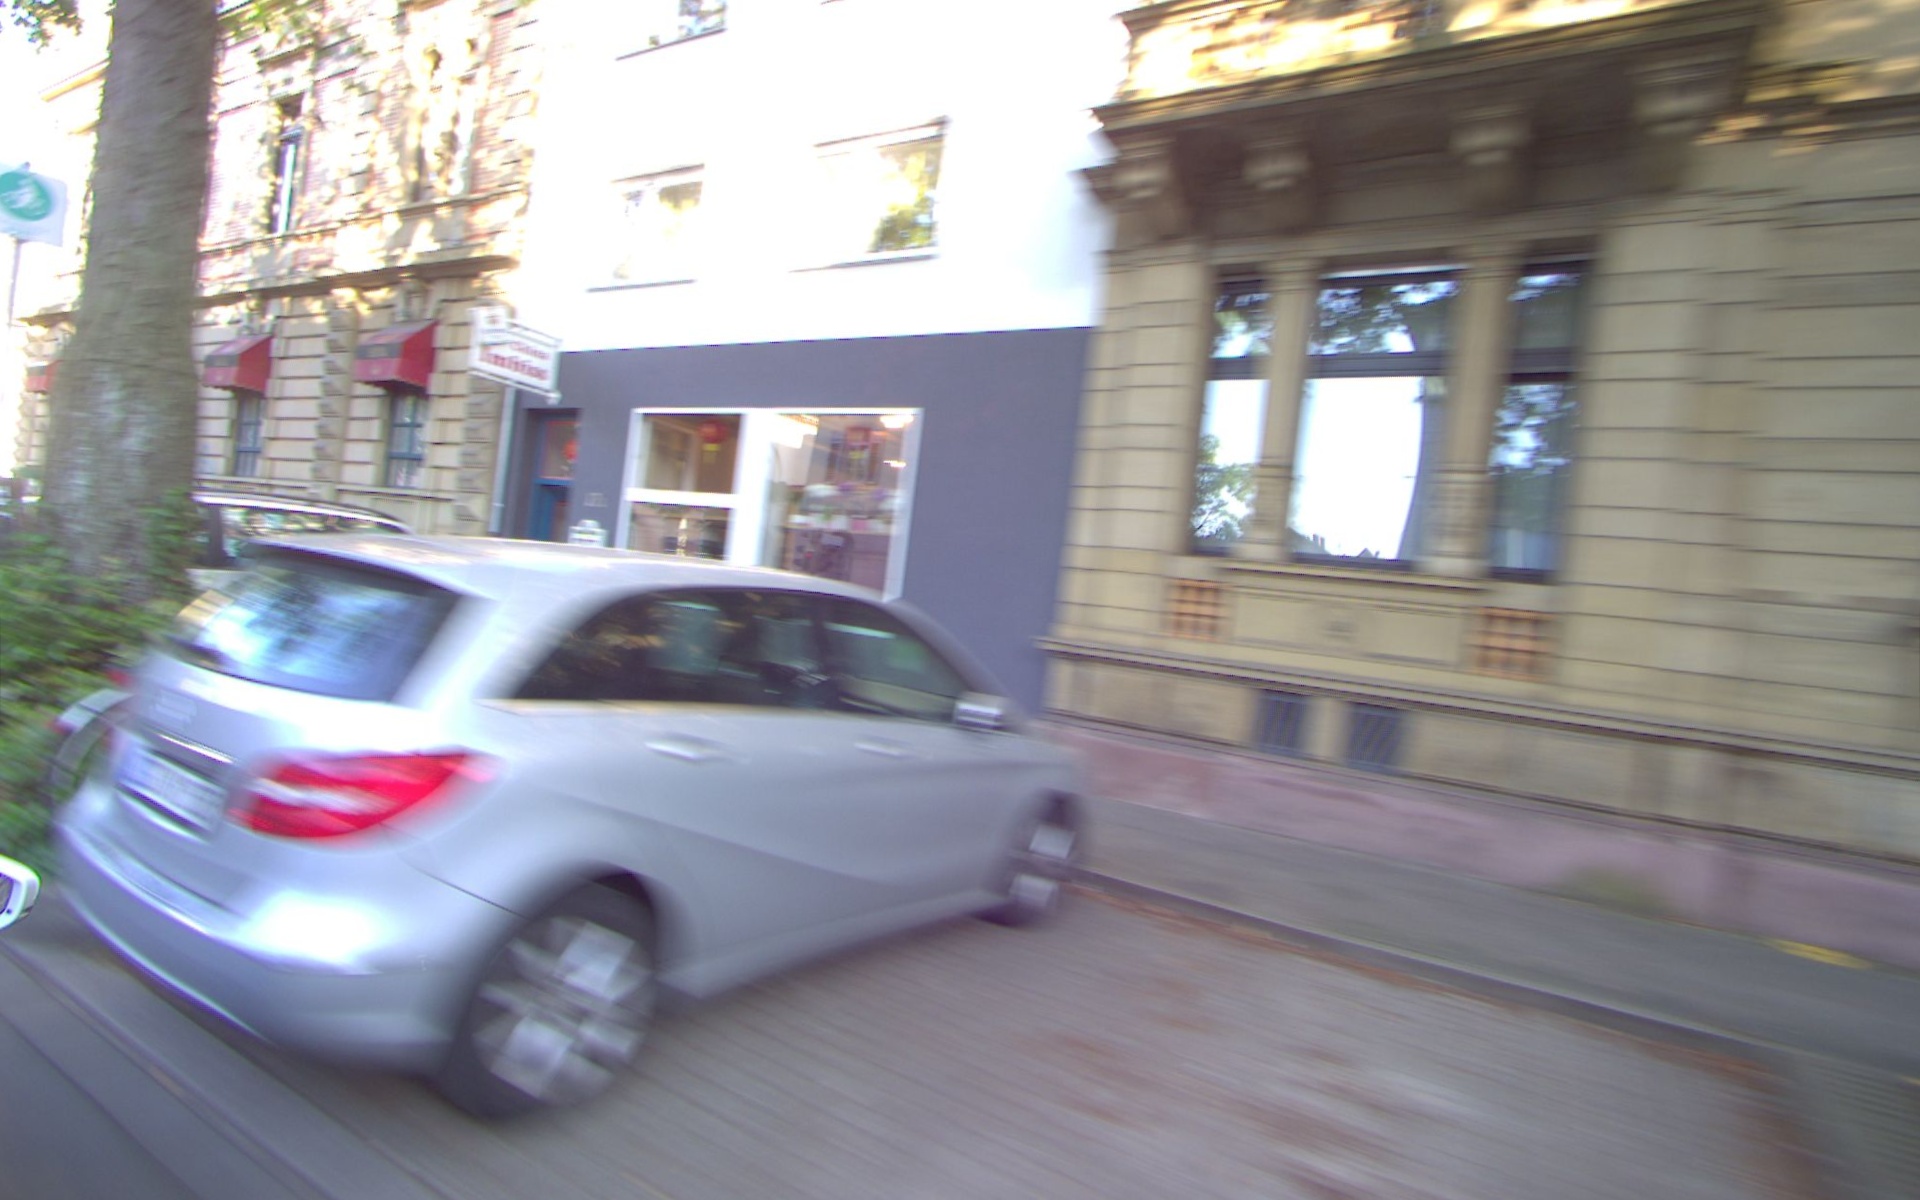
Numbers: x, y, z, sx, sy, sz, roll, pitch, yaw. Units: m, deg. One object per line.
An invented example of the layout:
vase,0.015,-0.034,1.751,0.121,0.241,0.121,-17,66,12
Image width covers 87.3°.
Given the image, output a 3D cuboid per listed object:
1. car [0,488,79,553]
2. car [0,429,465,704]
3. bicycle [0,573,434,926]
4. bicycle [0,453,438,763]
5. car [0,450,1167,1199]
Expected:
car,-29.173,-2.563,29.683,1.856,1.673,4.343,7,-1,34
car,-6.999,-0.247,8.613,1.917,1.938,4.548,7,0,29
bicycle,-3.067,0.570,4.260,0.480,1.219,1.338,7,1,31
bicycle,-5.075,0.104,6.432,0.647,1.682,3.122,7,-2,27
car,-0.944,0.590,4.258,1.939,1.579,4.226,8,0,34
